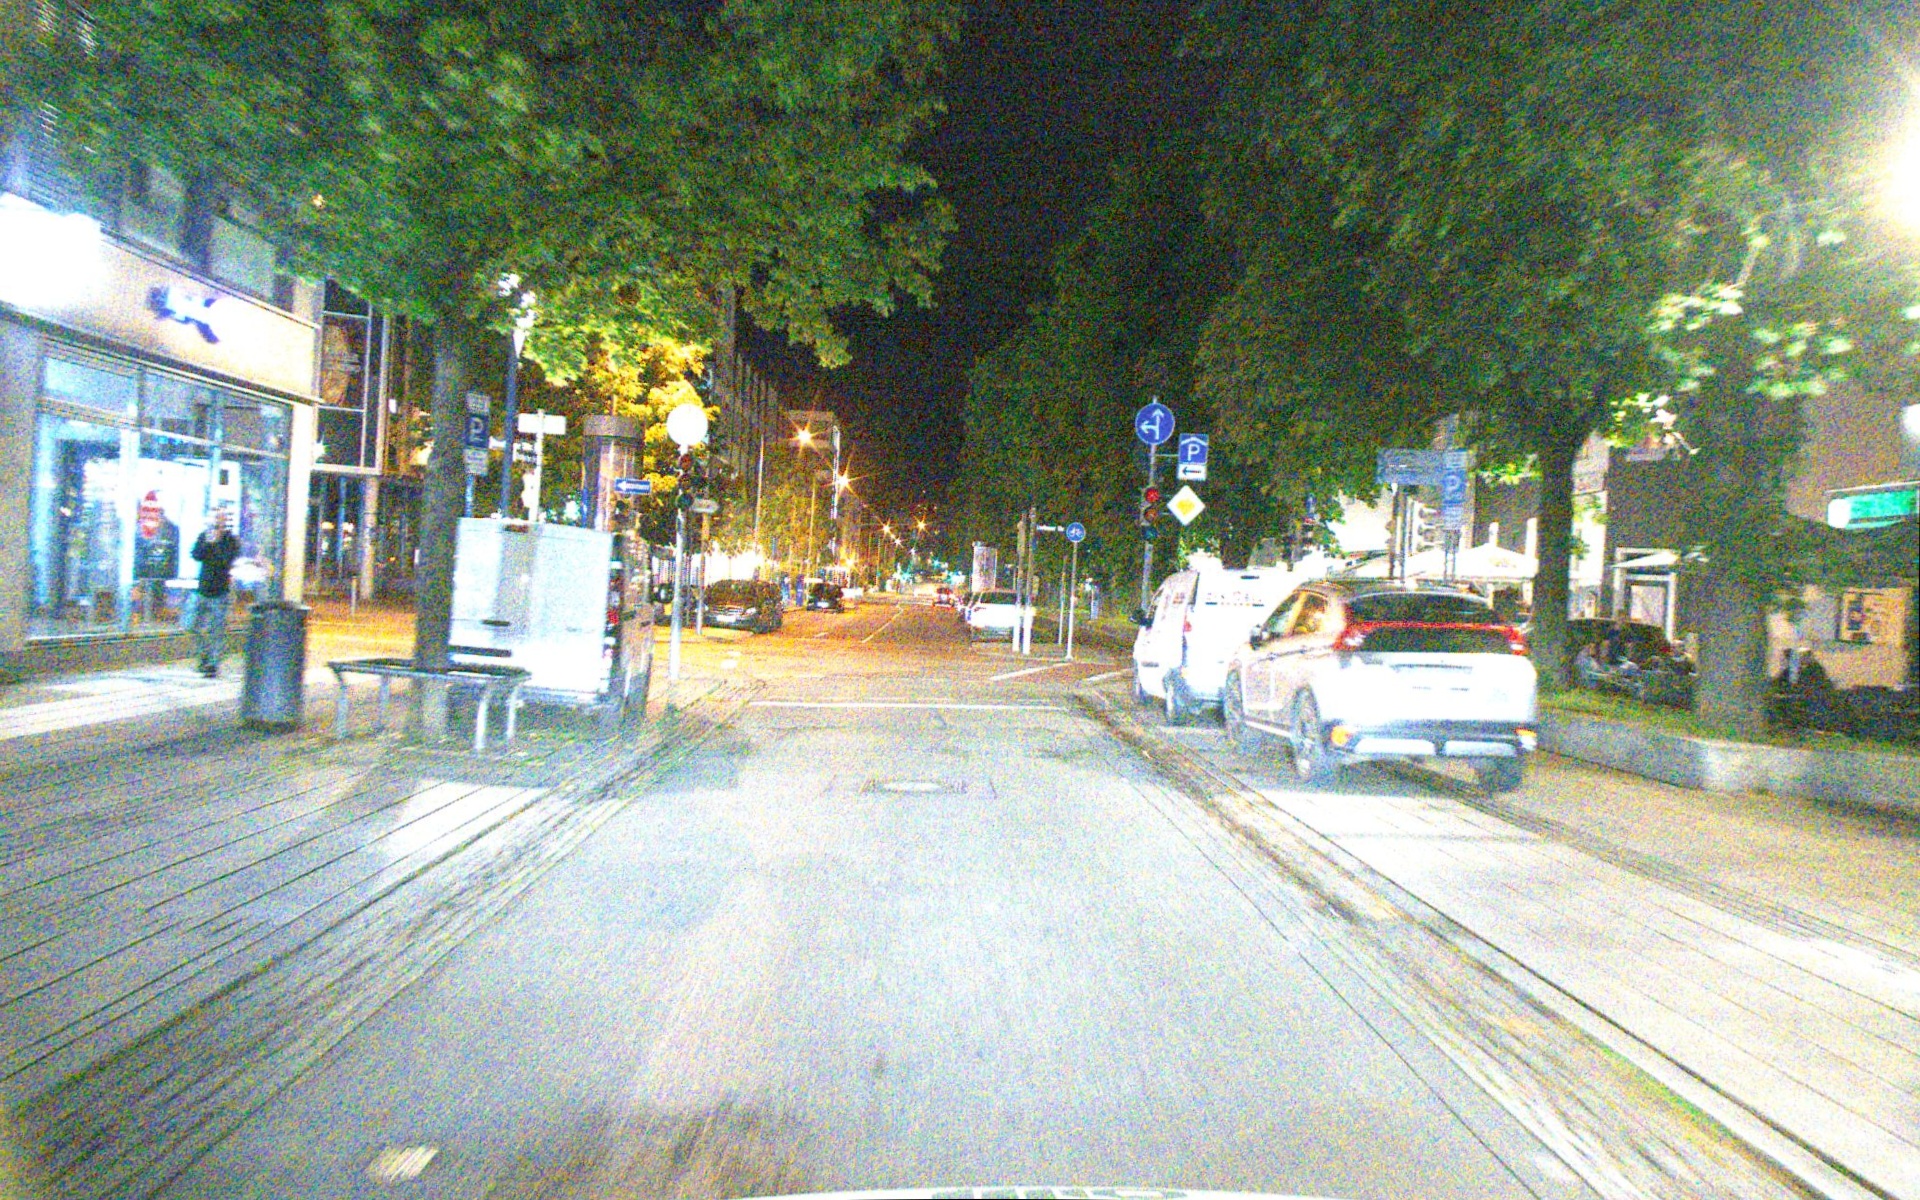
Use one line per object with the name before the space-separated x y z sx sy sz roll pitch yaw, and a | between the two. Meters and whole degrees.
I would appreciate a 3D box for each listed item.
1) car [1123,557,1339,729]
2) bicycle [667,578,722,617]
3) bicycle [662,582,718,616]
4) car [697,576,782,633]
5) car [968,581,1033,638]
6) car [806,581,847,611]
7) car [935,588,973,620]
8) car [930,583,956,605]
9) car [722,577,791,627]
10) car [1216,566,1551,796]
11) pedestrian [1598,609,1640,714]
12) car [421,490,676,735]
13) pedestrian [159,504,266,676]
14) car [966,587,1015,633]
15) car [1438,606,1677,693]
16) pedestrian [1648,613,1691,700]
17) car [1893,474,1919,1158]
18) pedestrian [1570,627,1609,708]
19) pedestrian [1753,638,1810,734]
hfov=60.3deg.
car | 3.249 0.455 20.712 1.753 1.853 4.578 2 1 -2
bicycle | -9.444 -0.093 58.771 1.813 1.275 0.532 3 0 -1
bicycle | -9.477 -0.038 58.117 1.814 1.053 0.532 5 0 -1
car | -6.401 0.109 48.476 1.770 1.449 4.920 5 0 -1
car | 1.142 0.254 48.270 1.734 1.563 4.216 1 0 0
car | -6.946 -0.229 86.534 1.706 1.437 4.495 4 1 0
car | -0.294 0.170 80.204 1.728 1.439 4.807 2 1 0
car | -1.370 -0.512 132.877 1.953 1.672 3.999 2 1 -1
car | -6.679 0.041 54.611 1.687 1.453 3.976 5 0 -1
car | 3.558 0.592 14.734 1.650 1.688 4.295 2 1 -3
pedestrian | 10.325 0.960 25.904 0.472 1.615 0.370 3 0 35
car | -4.234 0.088 17.841 1.817 2.123 5.084 5 0 -6
pedestrian | -7.897 -0.108 17.504 0.655 1.749 0.908 2 0 -1
car | 1.103 0.346 61.800 1.655 1.563 4.015 3 0 0
car | 12.254 1.008 34.073 4.229 1.558 1.802 2 -1 -2
pedestrian | 10.831 0.857 25.249 0.518 1.286 0.501 3 0 29
car | 3.699 0.359 1.944 2.091 2.367 5.150 2 0 -2
pedestrian | 9.509 1.010 24.982 0.383 1.188 0.517 3 0 34
pedestrian | 11.586 1.203 23.329 0.669 1.286 0.529 3 0 27
